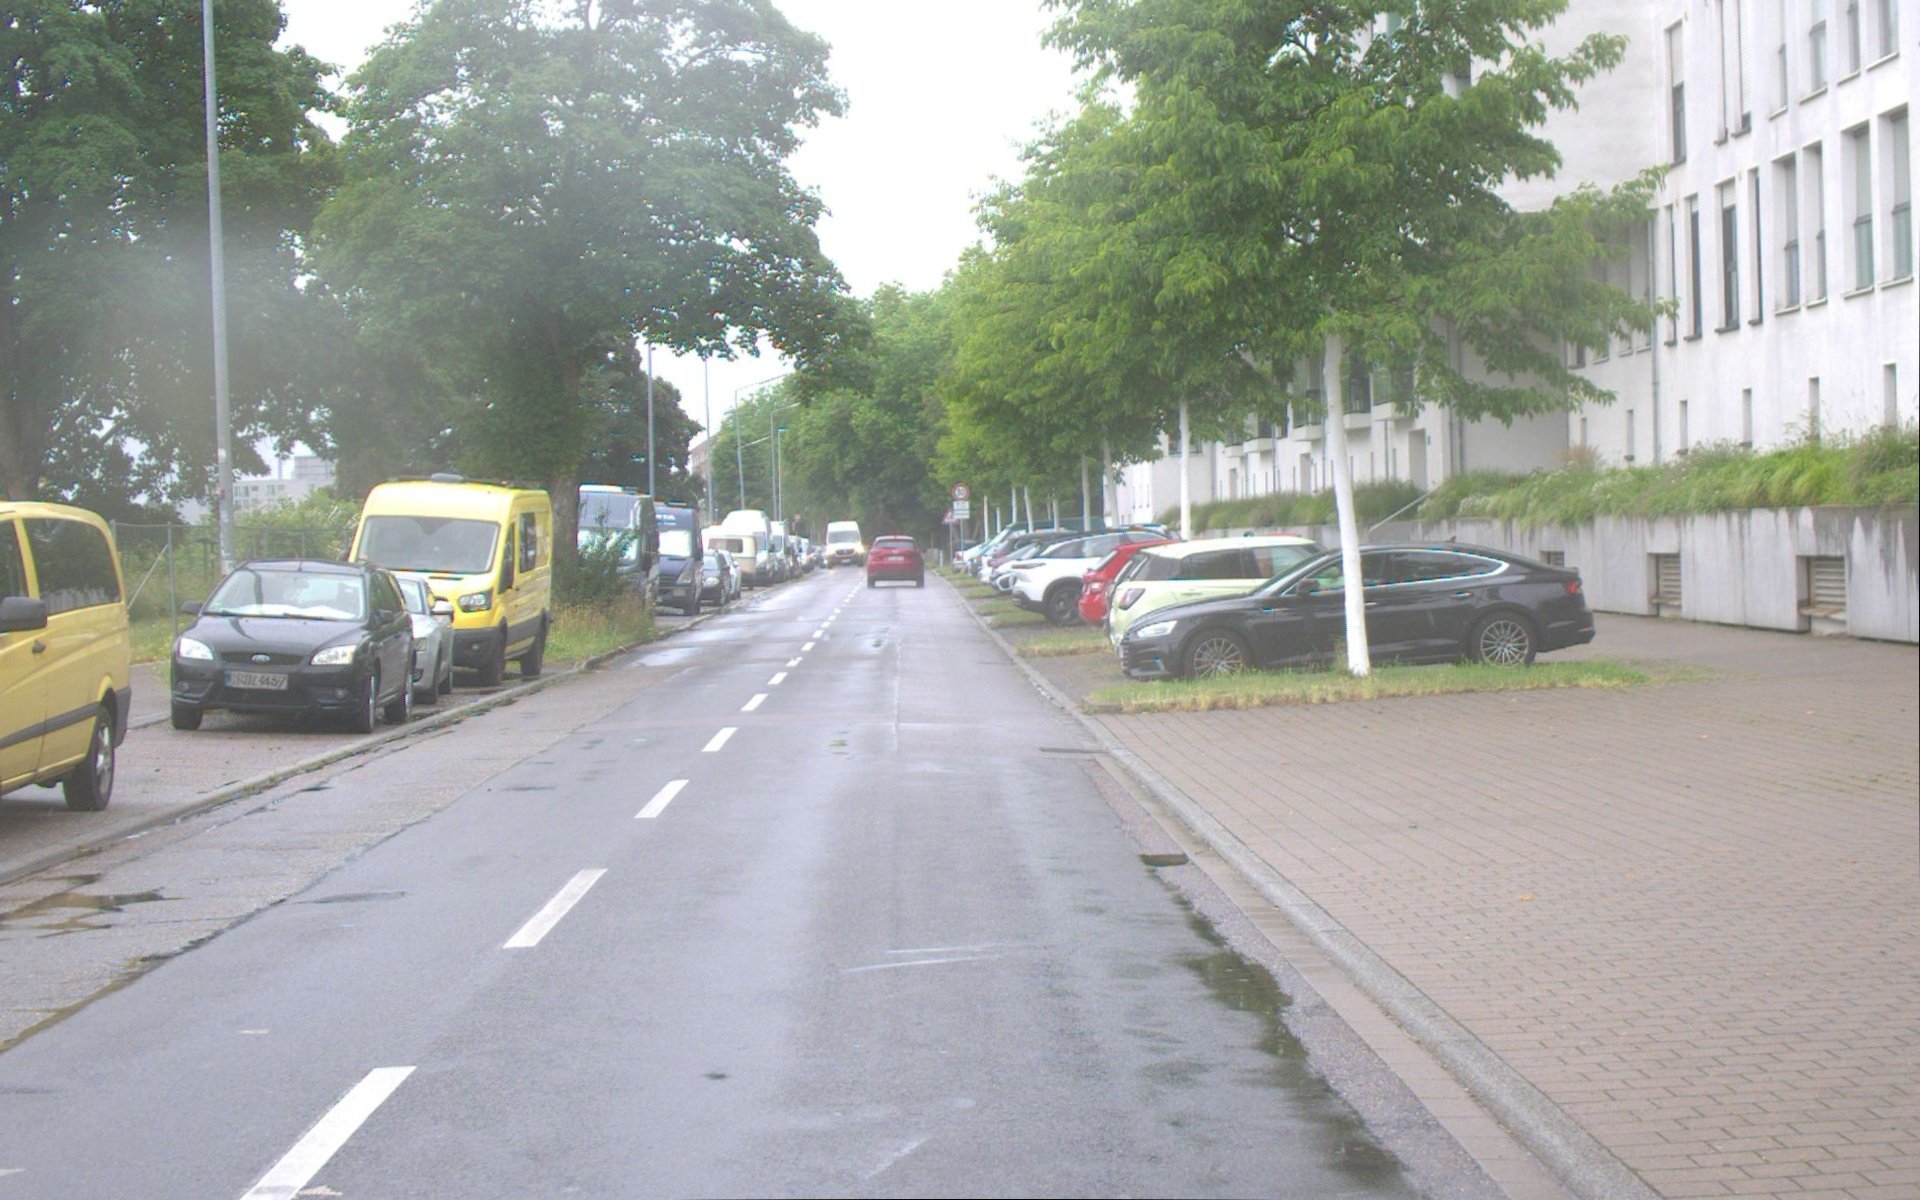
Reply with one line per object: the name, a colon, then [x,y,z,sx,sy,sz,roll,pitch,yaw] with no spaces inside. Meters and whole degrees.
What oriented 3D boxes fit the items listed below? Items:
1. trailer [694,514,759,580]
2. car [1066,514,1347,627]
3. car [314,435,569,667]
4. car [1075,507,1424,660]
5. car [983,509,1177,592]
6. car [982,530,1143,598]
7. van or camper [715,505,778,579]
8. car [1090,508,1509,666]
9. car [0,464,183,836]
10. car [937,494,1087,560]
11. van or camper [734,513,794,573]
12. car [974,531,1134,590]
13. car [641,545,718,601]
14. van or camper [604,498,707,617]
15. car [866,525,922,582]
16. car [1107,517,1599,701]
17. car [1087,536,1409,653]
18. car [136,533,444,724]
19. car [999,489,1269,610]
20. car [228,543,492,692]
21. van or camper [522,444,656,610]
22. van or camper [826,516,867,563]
trailer: [-7.997,-1.826,118.124,2.058,2.210,5.795,0,1,-2]
car: [3.672,-0.439,51.726,3.987,1.446,1.821,-3,0,-1]
car: [-6.460,-0.619,43.594,2.192,2.685,6.081,1,1,1]
car: [3.470,-0.206,41.627,3.987,1.550,1.635,-4,1,0]
car: [2.890,-1.217,83.611,4.476,1.681,1.936,-4,2,-2]
car: [2.623,-0.930,88.419,3.987,1.504,1.684,-3,2,-1]
van or camper: [-8.176,-2.227,132.151,1.993,2.752,7.898,0,1,-1]
car: [3.800,-0.161,39.027,4.487,1.476,1.692,-4,1,-1]
car: [-6.060,0.231,19.510,2.017,1.950,6.065,1,1,-1]
car: [1.661,-2.353,110.540,4.617,2.012,1.859,-1,2,-5]
van or camper: [-8.223,-2.383,144.626,2.189,2.453,6.377,0,1,-1]
car: [2.623,-1.112,96.145,4.298,1.423,1.637,-3,1,-3]
car: [-7.797,-0.764,95.918,1.774,1.497,4.828,1,1,0]
van or camper: [-7.344,-1.019,83.586,2.094,2.706,7.575,1,0,-3]
car: [-2.148,-1.497,111.522,1.756,1.700,4.000,-1,-1,-2]
car: [3.851,0.072,34.236,4.570,1.492,1.826,-4,1,-2]
car: [3.675,-0.079,44.270,3.956,1.469,1.592,0,1,-3]
car: [-6.084,0.219,31.812,1.993,1.588,5.018,1,1,-2]
car: [3.101,-0.902,61.899,4.539,1.679,1.886,-6,1,-3]
car: [-6.375,0.152,37.144,2.010,1.429,5.340,2,1,-1]
van or camper: [-7.273,-1.395,68.007,2.094,3.084,6.425,1,0,-2]
van or camper: [-6.364,-3.397,193.192,1.993,2.488,7.178,-2,1,0]
